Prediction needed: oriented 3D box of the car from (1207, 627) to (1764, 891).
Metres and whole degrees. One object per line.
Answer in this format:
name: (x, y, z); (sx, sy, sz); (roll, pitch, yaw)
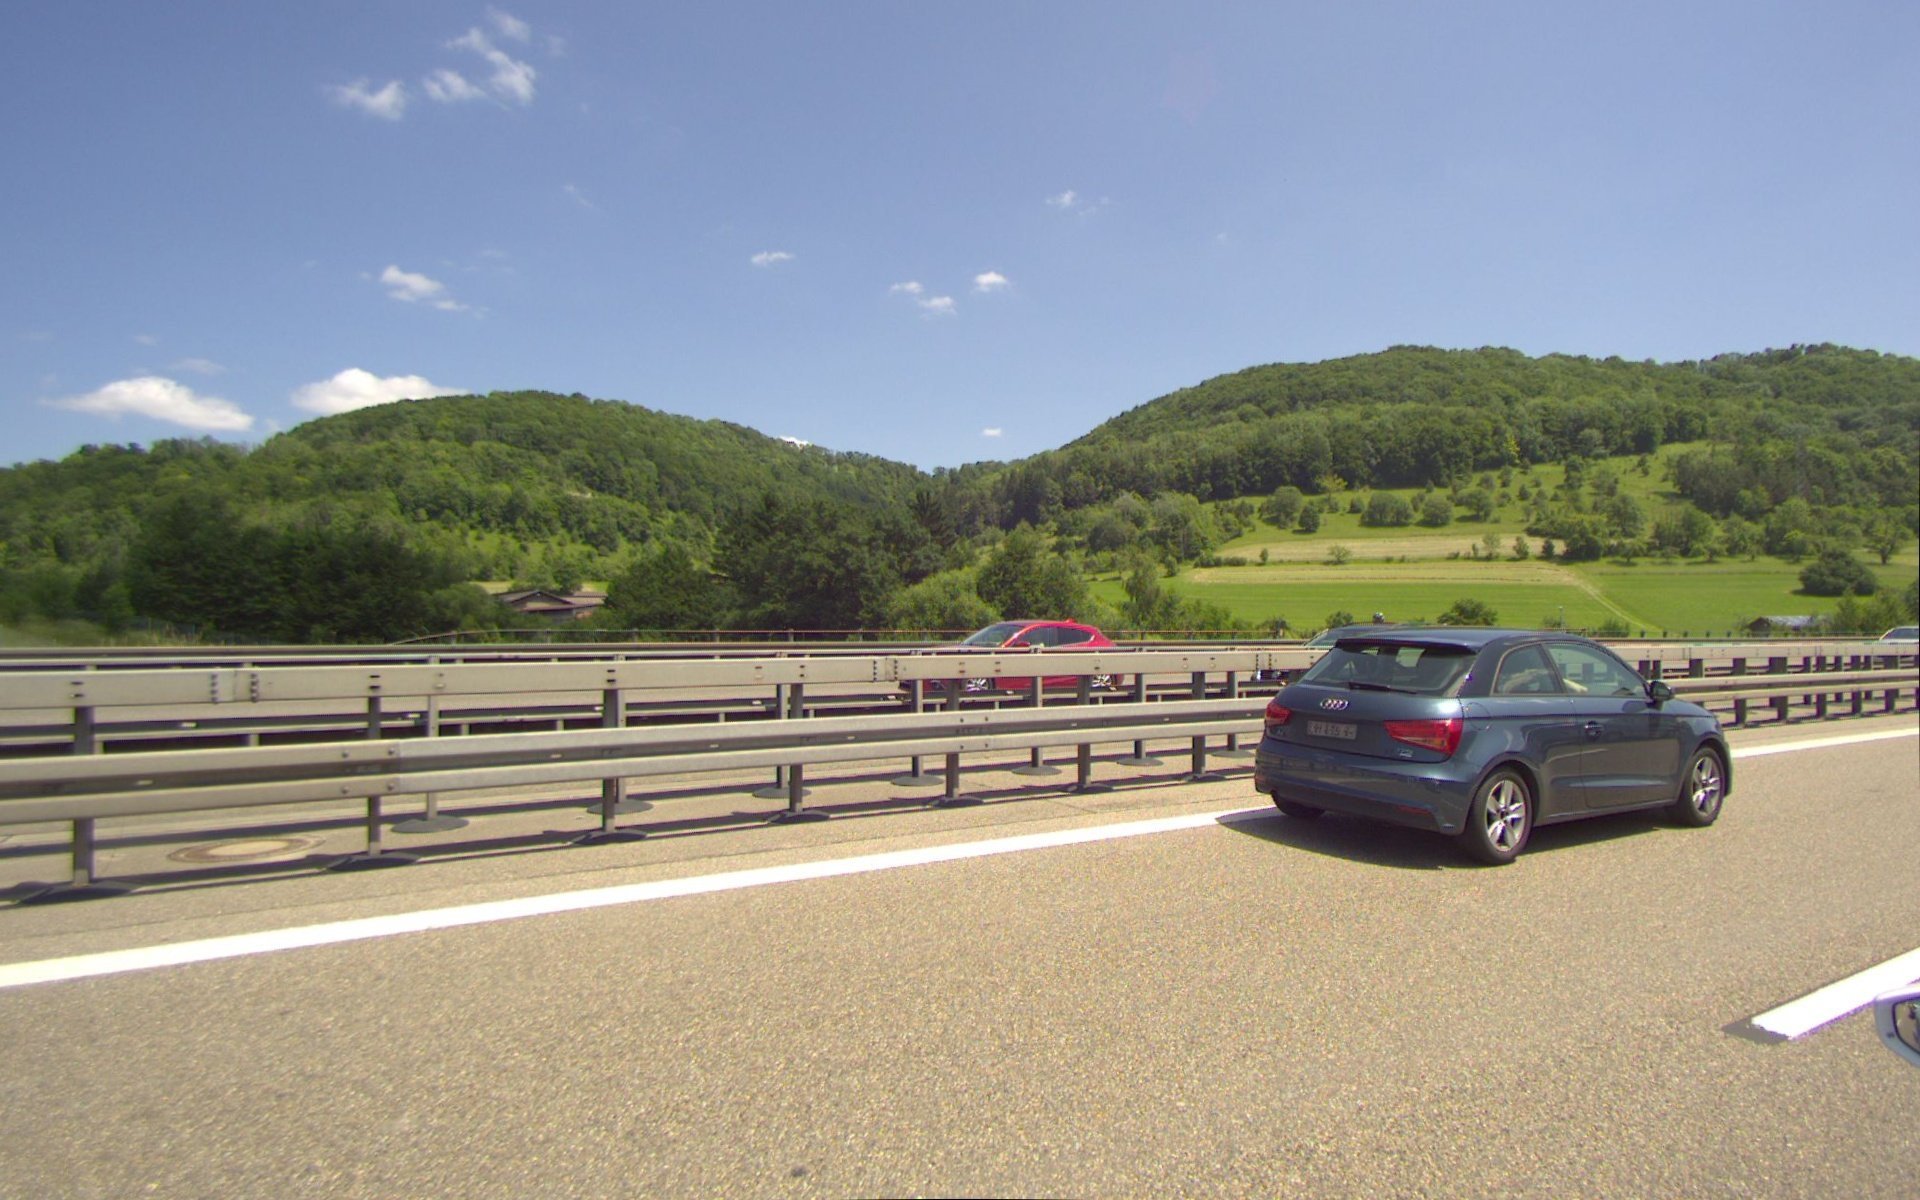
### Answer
car: (3.819, 0.909, 7.164); (3.952, 1.407, 1.681); (1, -1, -30)

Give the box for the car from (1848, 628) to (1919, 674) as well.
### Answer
car: (34.574, 1.839, 36.765); (3.953, 1.517, 1.984); (1, 0, -30)

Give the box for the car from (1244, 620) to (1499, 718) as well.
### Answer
car: (7.173, 1.111, 17.362); (4.576, 1.487, 1.740); (1, -1, -31)

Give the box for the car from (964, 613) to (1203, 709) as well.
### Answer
car: (2.387, 1.095, 19.133); (4.304, 1.639, 1.860); (1, -1, -30)

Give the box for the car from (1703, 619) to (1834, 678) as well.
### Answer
car: (26.690, 1.577, 33.141); (4.226, 1.816, 1.984); (2, 0, -30)

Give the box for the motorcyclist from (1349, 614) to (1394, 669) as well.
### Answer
motorcyclist: (11.561, 1.149, 28.200); (0.829, 1.521, 0.840); (1, -1, -31)
